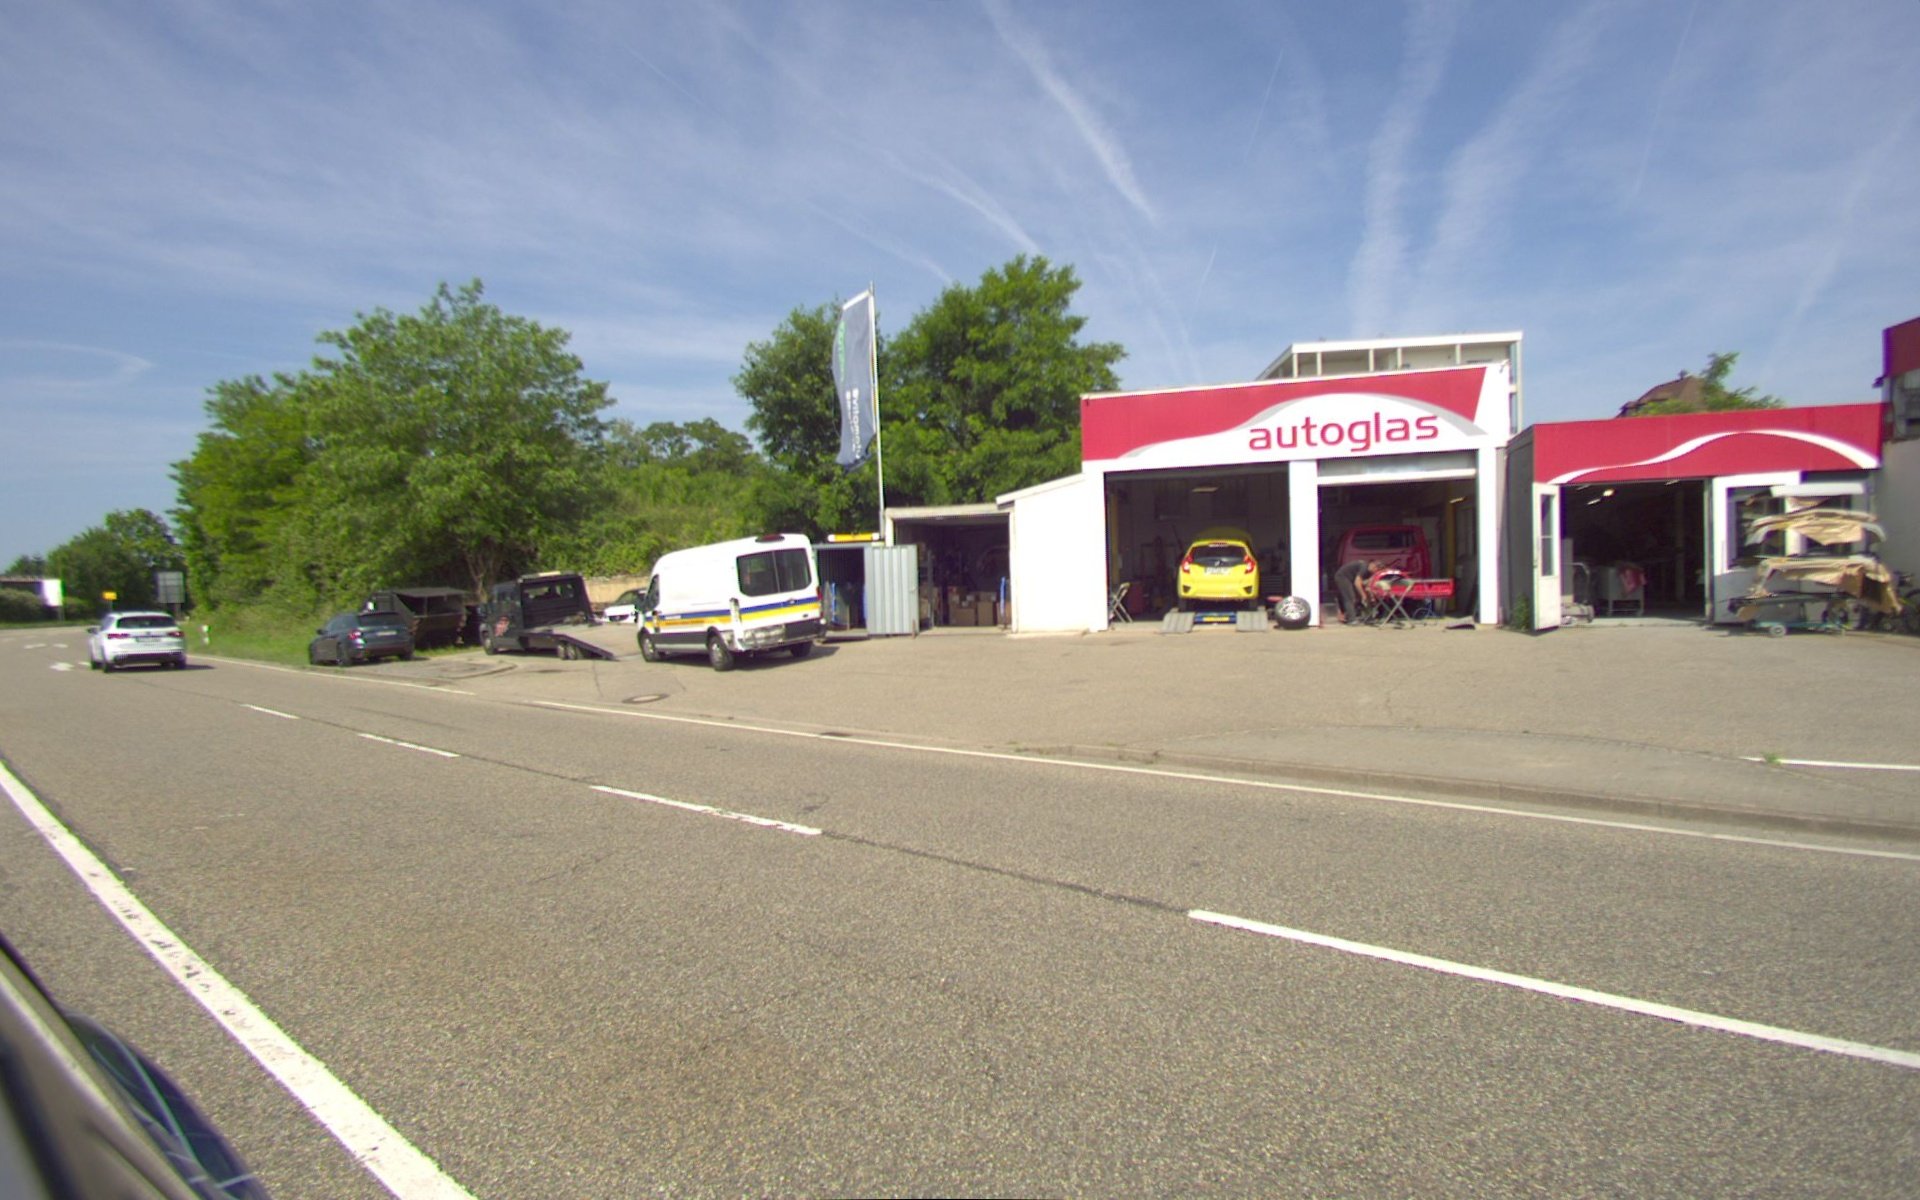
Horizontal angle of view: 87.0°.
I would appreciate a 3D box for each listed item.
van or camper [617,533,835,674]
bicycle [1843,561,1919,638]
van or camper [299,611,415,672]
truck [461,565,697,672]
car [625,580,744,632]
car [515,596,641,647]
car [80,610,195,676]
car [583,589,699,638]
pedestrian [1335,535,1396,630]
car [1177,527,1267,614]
[{"bbox_3d":[-5.194,0.054,21.656,2.127,2.517,5.963,-6,3,-37],"label":"van or camper"},{"bbox_3d":[13.987,-0.035,15.096,0.411,0.978,1.989,-1,5,16],"label":"bicycle"},{"bbox_3d":[-17.136,1.122,28.682,4.468,1.535,1.622,-1,1,43],"label":"van or camper"},{"bbox_3d":[-10.594,0.468,27.468,8.806,2.313,2.305,-1,5,45],"label":"truck"},{"bbox_3d":[-8.462,0.140,31.417,1.727,1.480,3.646,-1,1,21],"label":"car"},{"bbox_3d":[-12.588,0.687,33.560,1.710,1.522,3.634,-1,1,30],"label":"car"},{"bbox_3d":[-22.879,1.149,28.096,4.000,1.687,1.914,-1,-2,43],"label":"car"},{"bbox_3d":[-10.327,0.406,33.006,1.727,1.480,3.646,-1,1,21],"label":"car"},{"bbox_3d":[7.786,-0.334,19.435,0.894,1.775,0.715,-1,1,41],"label":"pedestrian"},{"bbox_3d":[5.864,-0.709,22.555,1.724,1.737,3.653,-2,3,16],"label":"car"}]
